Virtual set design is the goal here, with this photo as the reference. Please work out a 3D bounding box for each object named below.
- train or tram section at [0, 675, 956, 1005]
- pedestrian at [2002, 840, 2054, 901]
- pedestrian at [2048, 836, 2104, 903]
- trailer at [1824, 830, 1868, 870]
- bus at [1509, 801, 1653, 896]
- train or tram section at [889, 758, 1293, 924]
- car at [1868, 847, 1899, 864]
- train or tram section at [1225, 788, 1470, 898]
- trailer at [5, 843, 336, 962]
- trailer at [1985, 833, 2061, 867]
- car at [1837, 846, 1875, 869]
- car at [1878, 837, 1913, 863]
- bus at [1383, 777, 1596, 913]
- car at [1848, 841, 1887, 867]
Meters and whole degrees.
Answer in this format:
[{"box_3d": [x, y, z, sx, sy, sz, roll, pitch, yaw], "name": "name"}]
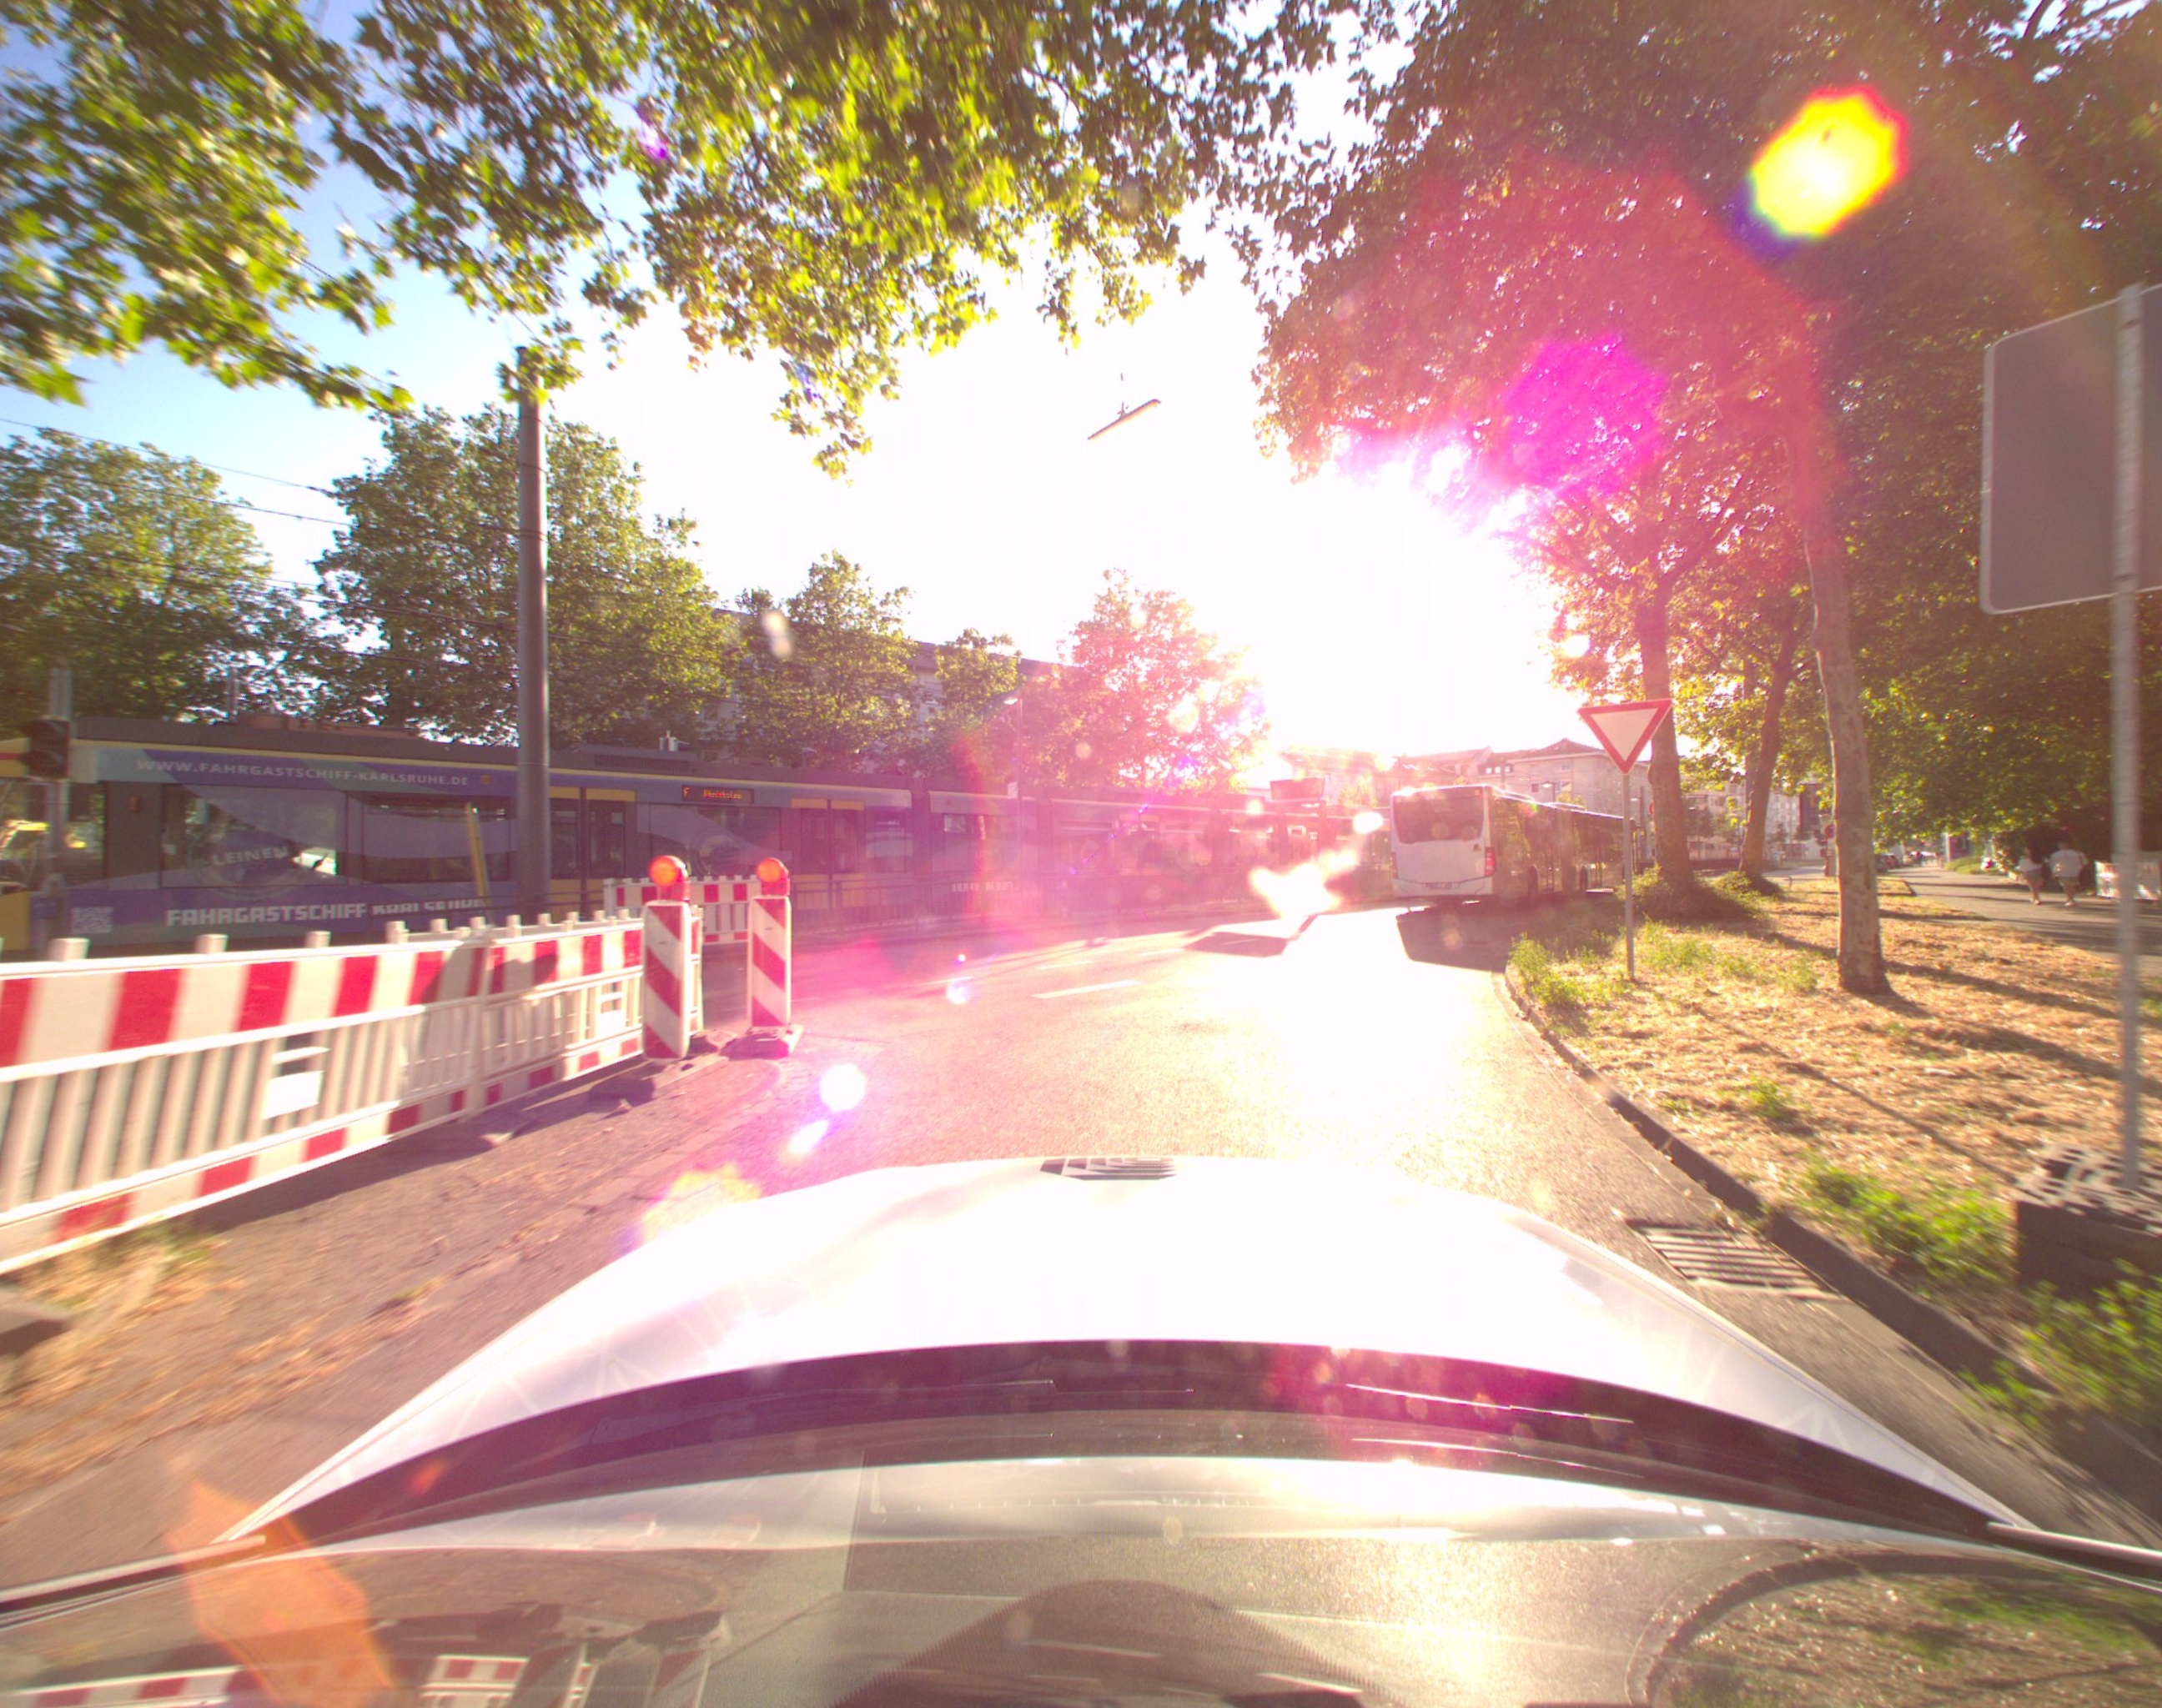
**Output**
[{"box_3d": [-8.485, -0.154, 13.795, 13.474, 3.533, 2.823, 0, -1, -45], "name": "train or tram section"}, {"box_3d": [24.831, 0.416, 21.376, 0.783, 1.572, 0.821, -1, -1, 44], "name": "pedestrian"}, {"box_3d": [25.451, 0.391, 20.855, 0.783, 1.667, 0.821, -1, -1, 44], "name": "pedestrian"}, {"box_3d": [51.506, -0.239, 54.788, 3.336, 2.558, 1.816, 0, -2, -42], "name": "trailer"}, {"box_3d": [19.068, -0.190, 30.740, 2.683, 3.107, 9.033, -1, -1, 44], "name": "bus"}, {"box_3d": [1.089, -0.294, 22.798, 12.854, 3.549, 2.704, 0, -1, -42], "name": "train or tram section"}, {"box_3d": [73.371, 0.137, 74.440, 3.954, 1.463, 1.656, 0, -3, -42], "name": "car"}, {"box_3d": [10.847, -0.369, 31.514, 13.405, 3.519, 2.617, 0, -1, -42], "name": "train or tram section"}, {"box_3d": [-18.475, 0.862, 16.800, 1.974, 2.115, 4.373, -1, -1, 41], "name": "trailer"}, {"box_3d": [58.805, -0.213, 50.881, 1.888, 2.069, 3.038, 0, -1, -40], "name": "trailer"}, {"box_3d": [56.761, 0.237, 59.613, 3.848, 1.588, 1.686, 0, -1, -42], "name": "car"}, {"box_3d": [85.321, -0.401, 85.274, 5.338, 2.627, 2.262, 0, -1, -42], "name": "car"}, {"box_3d": [12.245, -0.232, 23.621, 2.707, 3.139, 10.768, -1, 0, 42], "name": "bus"}, {"box_3d": [61.474, 0.025, 63.617, 4.568, 1.957, 1.830, 0, -1, -42], "name": "car"}]
